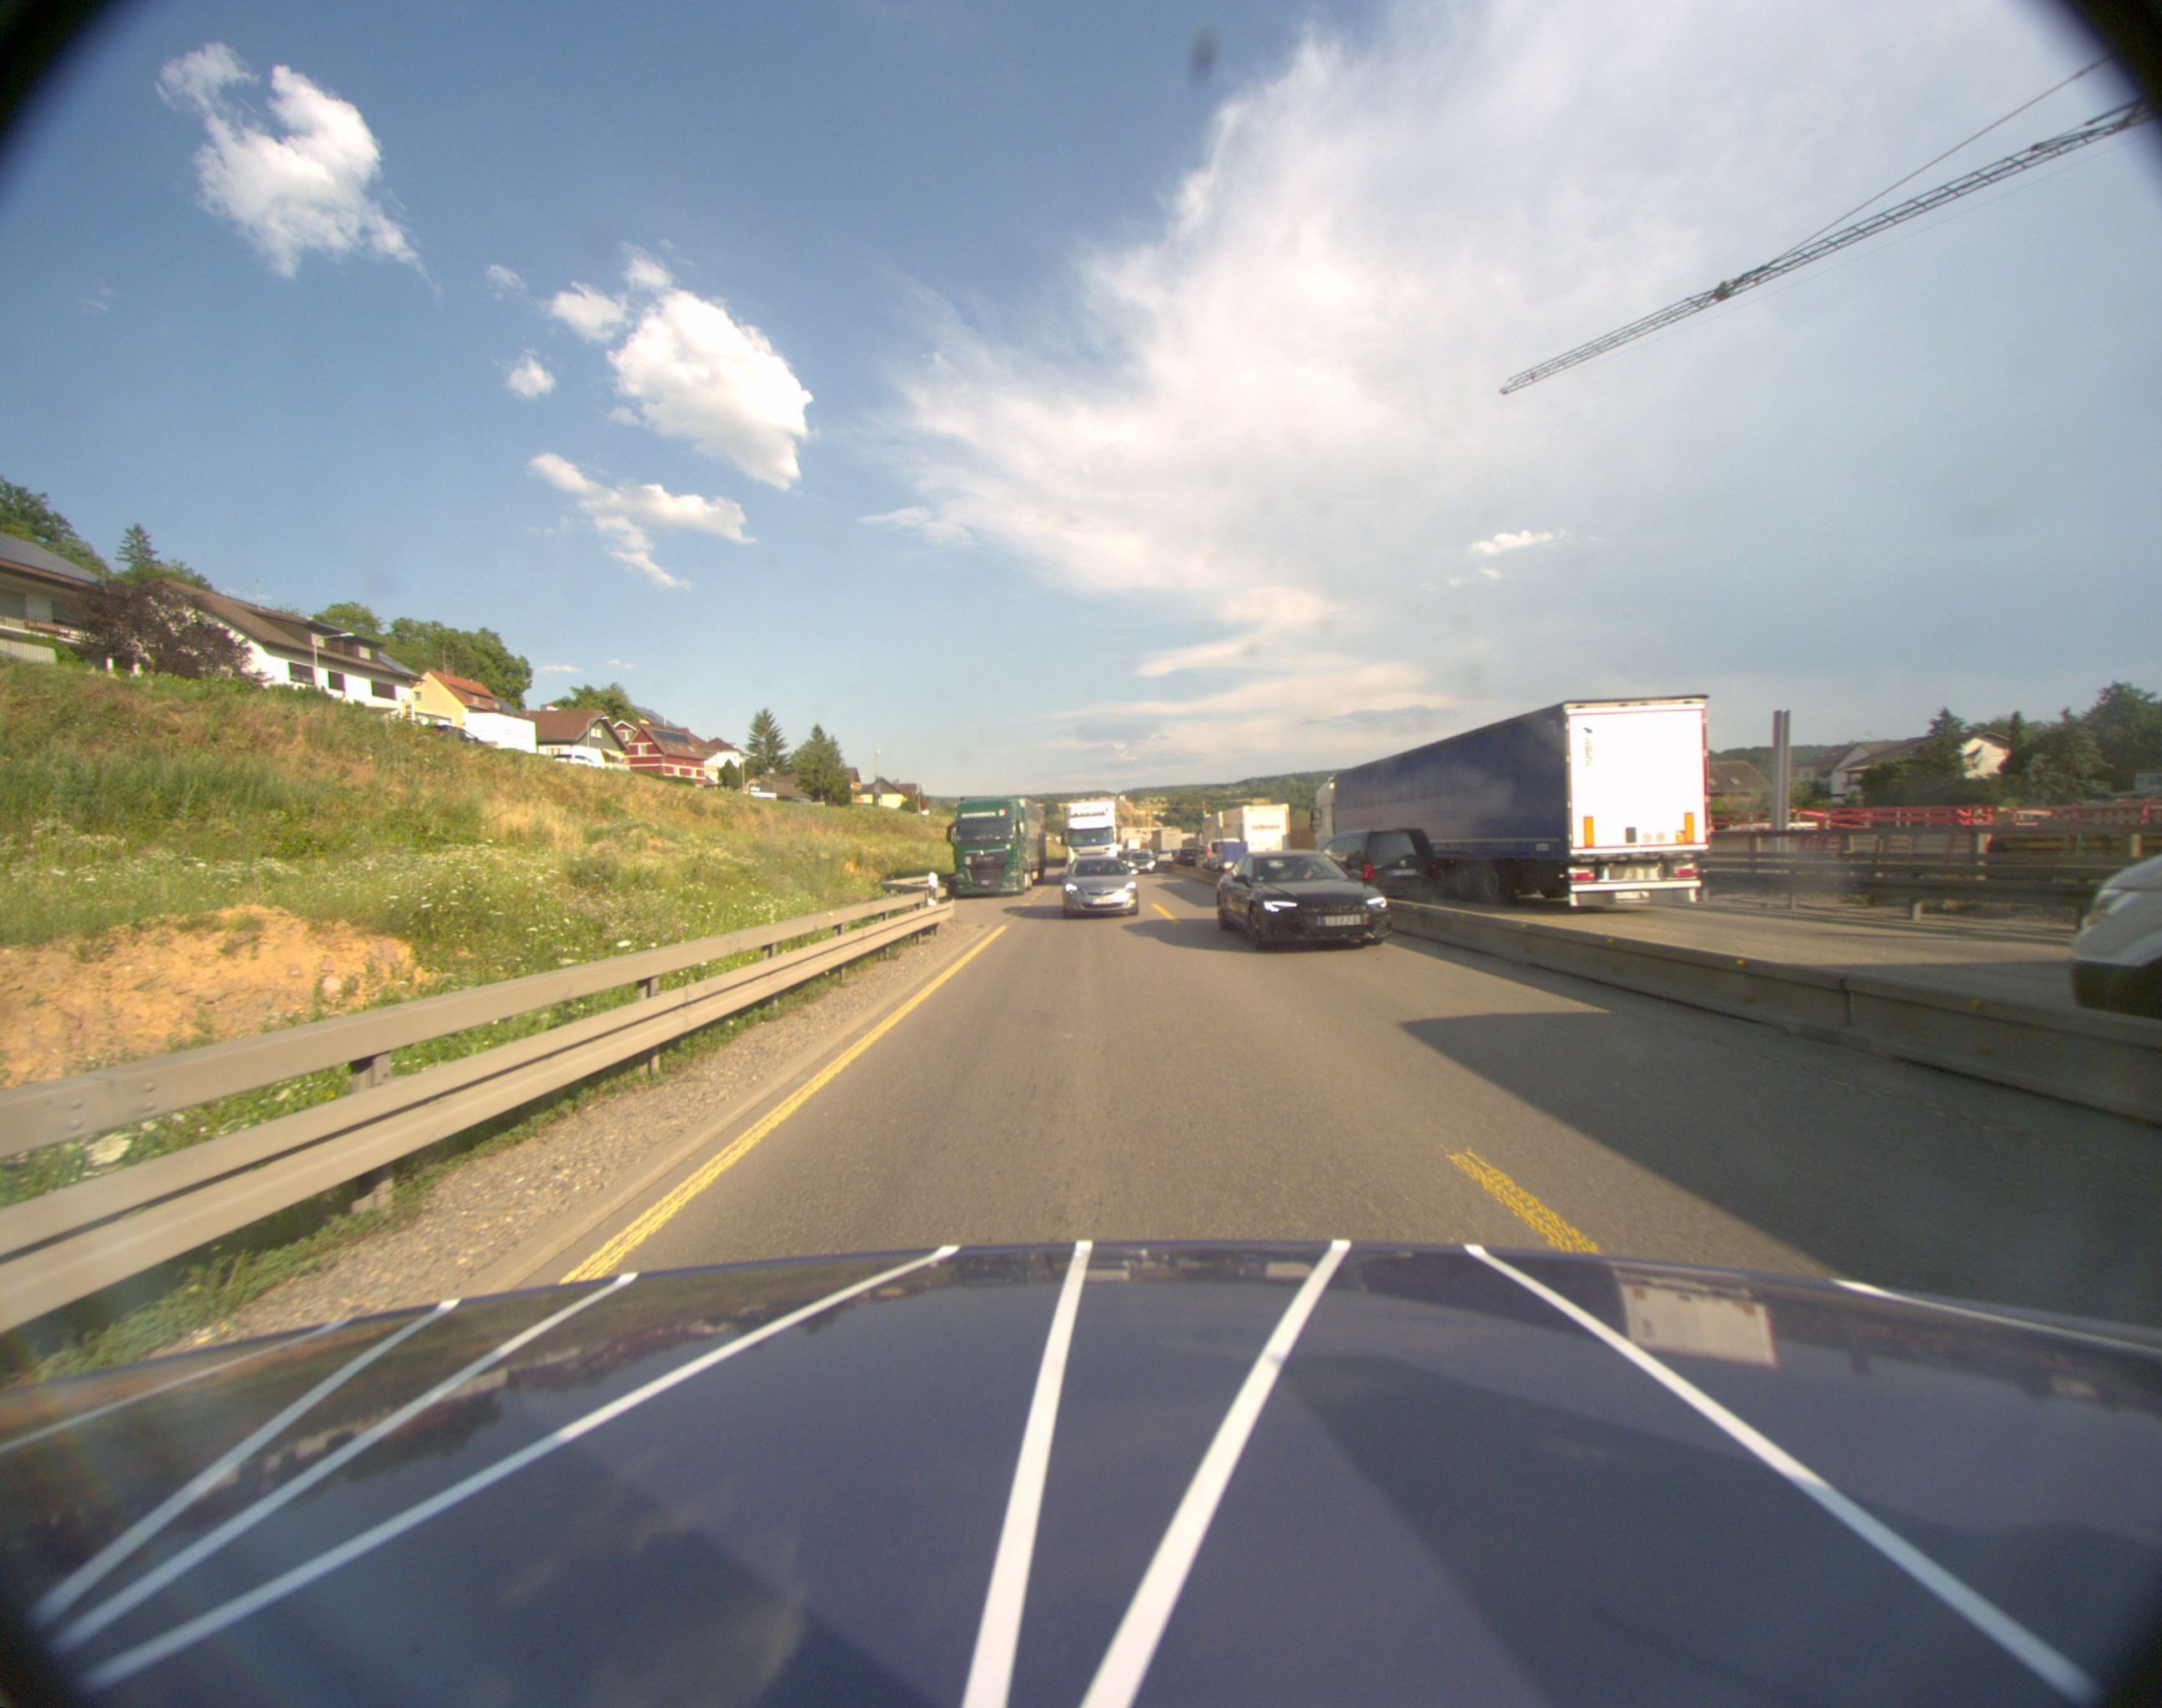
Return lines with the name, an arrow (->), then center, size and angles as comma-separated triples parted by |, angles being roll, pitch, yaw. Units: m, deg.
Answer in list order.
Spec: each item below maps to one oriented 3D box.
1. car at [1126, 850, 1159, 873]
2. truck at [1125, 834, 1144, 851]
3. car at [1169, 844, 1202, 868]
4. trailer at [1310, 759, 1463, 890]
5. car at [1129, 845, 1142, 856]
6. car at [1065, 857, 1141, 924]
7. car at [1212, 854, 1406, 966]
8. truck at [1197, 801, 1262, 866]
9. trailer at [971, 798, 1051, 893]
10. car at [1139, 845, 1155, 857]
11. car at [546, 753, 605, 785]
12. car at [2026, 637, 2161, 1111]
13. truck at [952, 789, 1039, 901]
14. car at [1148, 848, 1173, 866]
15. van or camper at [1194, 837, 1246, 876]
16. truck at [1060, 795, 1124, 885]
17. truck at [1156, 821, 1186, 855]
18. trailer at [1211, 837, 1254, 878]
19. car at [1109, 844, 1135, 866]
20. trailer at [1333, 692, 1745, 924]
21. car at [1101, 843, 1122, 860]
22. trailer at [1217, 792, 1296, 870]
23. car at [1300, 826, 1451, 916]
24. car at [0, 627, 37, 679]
car -> 3.892, 0.458, 48.476 | 1.692, 1.293, 3.882 | -3, 1, -1
truck -> 12.524, -2.661, 178.035 | 3.876, 3.766, 9.141 | -3, 1, 1
car -> 7.474, 0.117, 54.668 | 1.861, 1.565, 4.000 | -3, 1, 1
trailer -> 10.621, -0.976, 27.197 | 2.932, 4.013, 6.222 | -3, 1, 1
car -> 8.748, -0.608, 121.609 | 1.808, 1.652, 4.000 | -2, 1, 1
car -> 0.520, 0.835, 18.830 | 1.671, 1.425, 3.524 | -1, 1, 1
car -> 3.442, 0.759, 12.382 | 1.873, 1.411, 4.348 | -2, 1, 1
truck -> 10.847, -1.448, 56.539 | 2.834, 4.239, 10.071 | -3, 1, 1
trailer -> -3.189, -0.421, 38.290 | 2.554, 3.911, 12.078 | -3, 1, 1
car -> 8.326, -0.357, 96.339 | 1.624, 1.448, 3.232 | -3, 1, 0
car -> -38.877, -6.514, 58.550 | 1.999, 2.002, 3.998 | -3, 1, -5
car -> 6.887, 0.111, 1.039 | 1.998, 2.607, 7.409 | -3, 1, 1
truck -> -3.299, -0.377, 30.896 | 2.547, 3.992, 6.071 | -3, 1, 1
car -> 7.459, 0.277, 71.472 | 1.889, 1.499, 4.000 | -3, 1, 1
van or camper -> 7.328, 0.091, 40.637 | 1.868, 1.881, 5.003 | -3, 1, 1
truck -> 0.640, -0.724, 41.230 | 2.741, 4.033, 12.670 | -3, 1, 1
truck -> 11.569, -2.041, 98.488 | 2.873, 4.038, 7.598 | -2, 1, 1
trailer -> 7.275, 0.136, 36.612 | 1.452, 1.843, 2.984 | -3, 1, 1
car -> 3.439, 0.090, 63.936 | 1.998, 1.739, 4.000 | -2, 0, 1
trailer -> 10.476, -0.898, 20.482 | 2.932, 4.013, 13.773 | -3, 1, 1
car -> 3.161, -0.252, 79.452 | 1.917, 1.746, 4.000 | -1, 0, 0
trailer -> 10.678, -1.327, 47.139 | 2.834, 4.258, 8.734 | -3, 1, 1
car -> 6.950, 0.339, 18.524 | 1.785, 1.832, 4.853 | -3, 1, 1
car -> -35.233, -6.442, 22.876 | 1.999, 1.434, 3.999 | -2, 1, -1
